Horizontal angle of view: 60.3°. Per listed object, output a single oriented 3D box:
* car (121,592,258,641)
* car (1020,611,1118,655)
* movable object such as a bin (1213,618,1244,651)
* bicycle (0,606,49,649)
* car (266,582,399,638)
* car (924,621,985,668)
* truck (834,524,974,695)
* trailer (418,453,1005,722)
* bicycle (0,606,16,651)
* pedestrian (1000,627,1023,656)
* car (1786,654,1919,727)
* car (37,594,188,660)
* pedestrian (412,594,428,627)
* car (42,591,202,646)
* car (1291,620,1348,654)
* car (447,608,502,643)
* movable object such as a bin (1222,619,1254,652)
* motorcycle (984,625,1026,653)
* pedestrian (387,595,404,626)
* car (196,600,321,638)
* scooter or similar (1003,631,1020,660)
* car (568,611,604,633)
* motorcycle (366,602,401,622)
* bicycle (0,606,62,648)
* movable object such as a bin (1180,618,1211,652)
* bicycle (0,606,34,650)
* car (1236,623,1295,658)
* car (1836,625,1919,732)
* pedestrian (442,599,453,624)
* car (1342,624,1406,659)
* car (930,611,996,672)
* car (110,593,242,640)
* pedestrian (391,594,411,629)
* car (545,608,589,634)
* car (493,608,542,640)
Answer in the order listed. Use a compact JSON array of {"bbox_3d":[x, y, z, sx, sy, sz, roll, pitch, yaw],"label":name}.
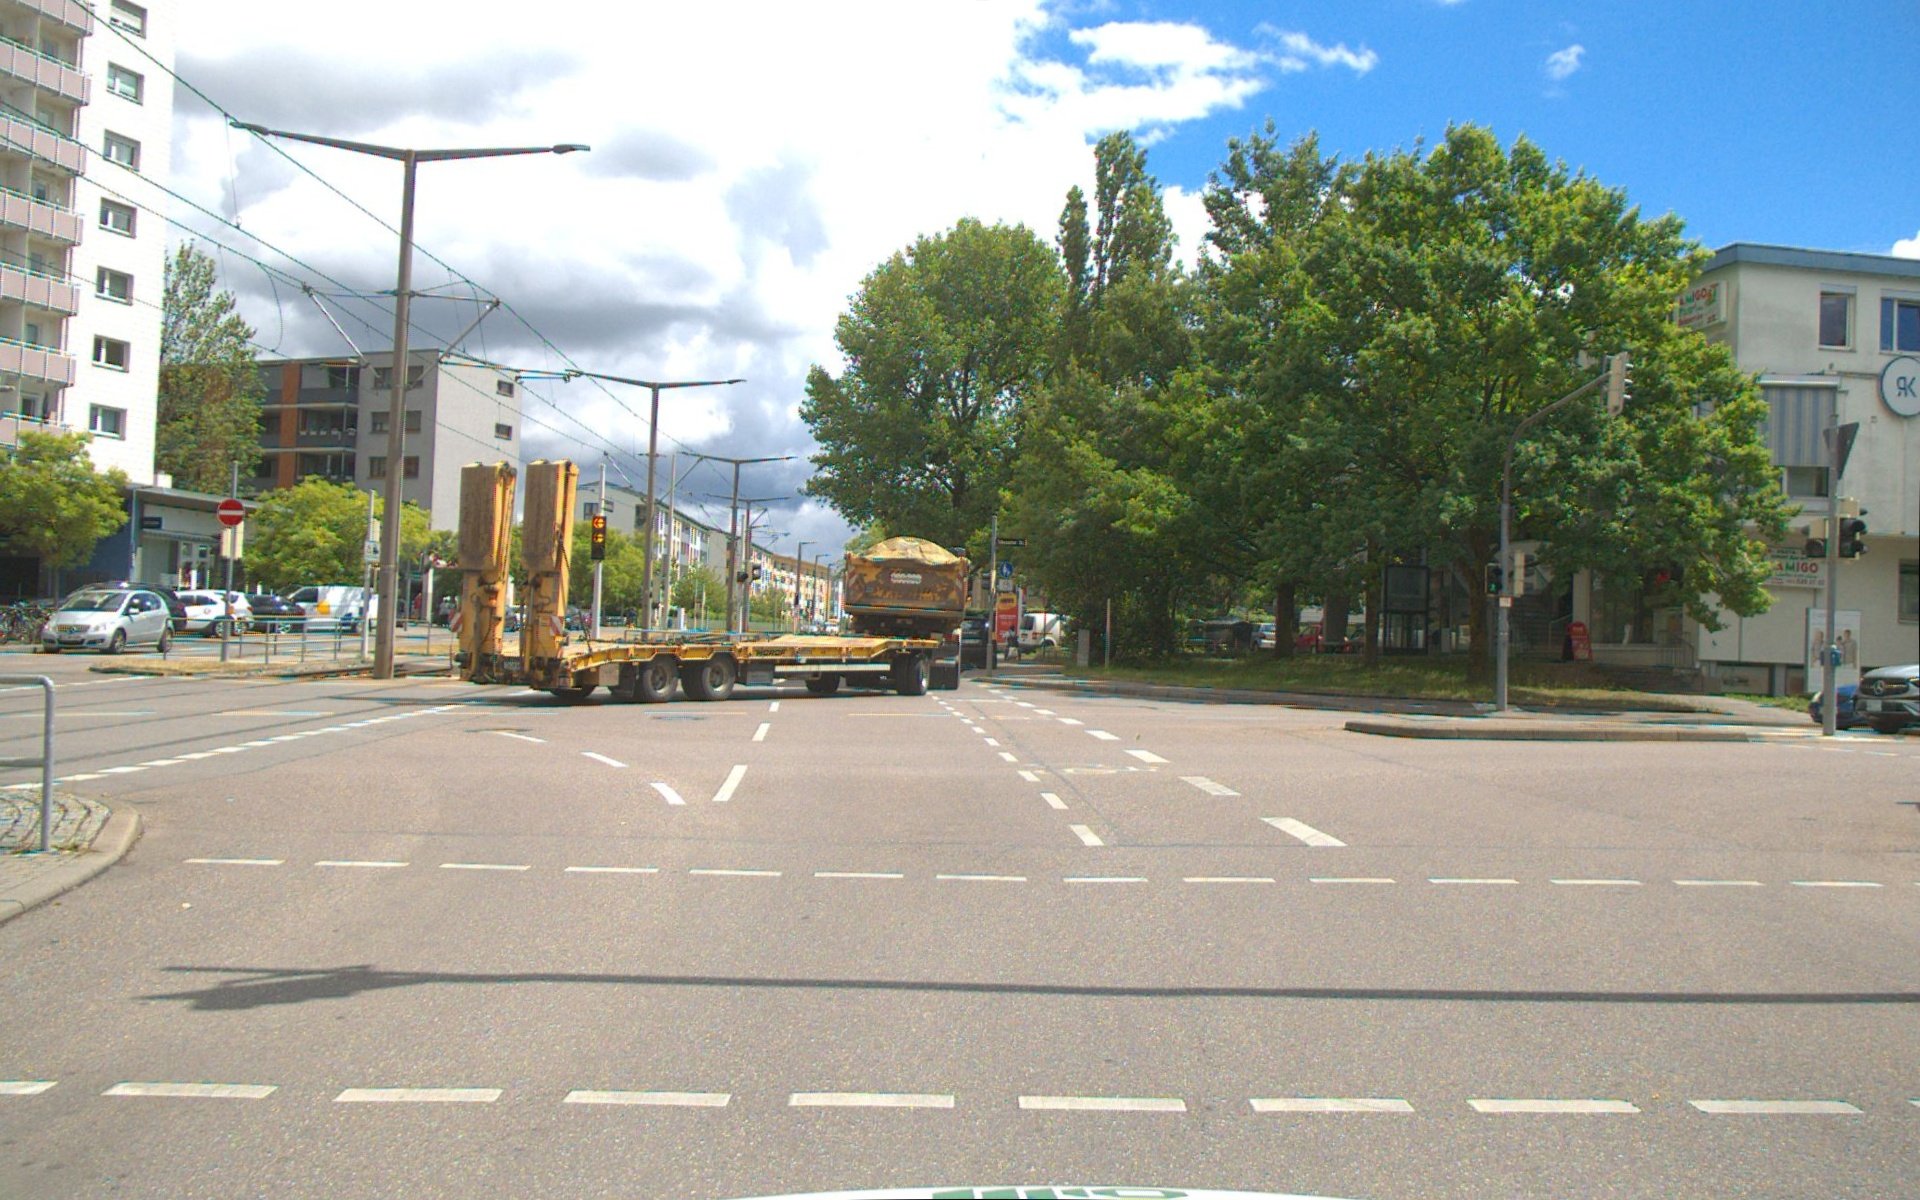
[{"bbox_3d":[-27.293,0.573,58.669,1.872,1.660,3.977,1,0,41],"label":"car"},{"bbox_3d":[4.808,1.453,72.824,3.939,1.855,1.795,1,0,-27],"label":"car"},{"bbox_3d":[12.288,1.584,75.683,1.093,1.455,1.284,1,0,-6],"label":"movable object such as a bin"},{"bbox_3d":[-24.967,0.695,42.761,2.378,1.085,0.704,1,0,-2],"label":"bicycle"},{"bbox_3d":[-25.565,0.421,67.480,1.875,2.194,4.727,1,-1,45],"label":"car"},{"bbox_3d":[-0.229,1.501,56.510,1.612,1.483,4.069,1,0,-7],"label":"car"},{"bbox_3d":[-1.189,0.202,37.282,2.776,3.388,7.982,1,0,-1],"label":"truck"},{"bbox_3d":[-3.704,-0.121,29.131,2.999,3.839,11.568,1,0,36],"label":"trailer"},{"bbox_3d":[-24.883,0.690,41.123,2.378,1.085,0.704,1,0,-2],"label":"bicycle"},{"bbox_3d":[1.925,1.571,62.134,0.761,1.073,0.546,1,-1,-10],"label":"pedestrian"},{"bbox_3d":[17.218,1.632,29.710,3.886,1.247,1.909,1,-3,-9],"label":"car"},{"bbox_3d":[-21.202,0.648,41.549,1.781,1.559,3.755,1,0,1],"label":"car"},{"bbox_3d":[-29.883,0.568,91.554,0.599,1.824,0.843,1,-1,-4],"label":"pedestrian"},{"bbox_3d":[-25.846,0.566,51.085,1.897,1.619,3.979,1,0,40],"label":"car"},{"bbox_3d":[16.763,1.695,77.336,1.708,1.468,3.999,1,0,-1],"label":"car"},{"bbox_3d":[-25.548,1.326,87.203,1.955,1.691,4.095,3,0,-5],"label":"car"},{"bbox_3d":[12.466,1.589,74.098,1.093,1.455,1.284,1,0,-6],"label":"movable object such as a bin"},{"bbox_3d":[2.084,1.801,76.548,1.773,1.231,0.706,1,-1,-26],"label":"motorcycle"},{"bbox_3d":[-29.131,0.548,85.327,0.656,1.601,0.681,1,-1,-31],"label":"pedestrian"},{"bbox_3d":[-26.669,0.730,62.959,1.875,1.408,3.971,1,0,45],"label":"car"},{"bbox_3d":[1.931,1.702,62.144,0.468,1.073,0.895,1,0,-9],"label":"scooter or similar"},{"bbox_3d":[-26.285,1.523,116.332,1.579,1.451,3.424,1,0,3],"label":"car"},{"bbox_3d":[-35.118,0.725,100.761,1.855,1.199,0.740,1,0,-6],"label":"motorcycle"},{"bbox_3d":[-25.023,0.697,43.512,2.378,1.085,0.704,1,0,-2],"label":"bicycle"},{"bbox_3d":[10.417,1.542,73.158,1.093,1.455,1.284,1,0,-6],"label":"movable object such as a bin"},{"bbox_3d":[-24.926,0.693,42.004,2.378,1.085,0.704,1,0,-2],"label":"bicycle"},{"bbox_3d":[14.130,1.853,76.740,1.901,1.516,3.999,1,0,-1],"label":"car"},{"bbox_3d":[16.603,1.267,26.228,4.555,1.620,1.919,1,-3,-9],"label":"car"},{"bbox_3d":[-29.928,0.663,96.545,0.492,1.486,0.555,1,-1,-31],"label":"pedestrian"},{"bbox_3d":[19.126,1.895,76.612,1.709,1.496,3.997,1,0,-4],"label":"car"},{"bbox_3d":[0.054,1.257,52.025,1.612,1.793,4.564,1,0,-6],"label":"car"},{"bbox_3d":[-26.581,0.576,56.135,3.736,1.522,1.720,1,0,-43],"label":"car"},{"bbox_3d":[-27.574,0.556,81.597,0.828,1.678,0.609,2,-1,-20],"label":"pedestrian"},{"bbox_3d":[-26.037,1.378,109.702,1.953,1.677,4.099,1,0,0],"label":"car"},{"bbox_3d":[-25.465,1.364,95.353,1.955,1.691,4.095,3,0,-5],"label":"car"}]
